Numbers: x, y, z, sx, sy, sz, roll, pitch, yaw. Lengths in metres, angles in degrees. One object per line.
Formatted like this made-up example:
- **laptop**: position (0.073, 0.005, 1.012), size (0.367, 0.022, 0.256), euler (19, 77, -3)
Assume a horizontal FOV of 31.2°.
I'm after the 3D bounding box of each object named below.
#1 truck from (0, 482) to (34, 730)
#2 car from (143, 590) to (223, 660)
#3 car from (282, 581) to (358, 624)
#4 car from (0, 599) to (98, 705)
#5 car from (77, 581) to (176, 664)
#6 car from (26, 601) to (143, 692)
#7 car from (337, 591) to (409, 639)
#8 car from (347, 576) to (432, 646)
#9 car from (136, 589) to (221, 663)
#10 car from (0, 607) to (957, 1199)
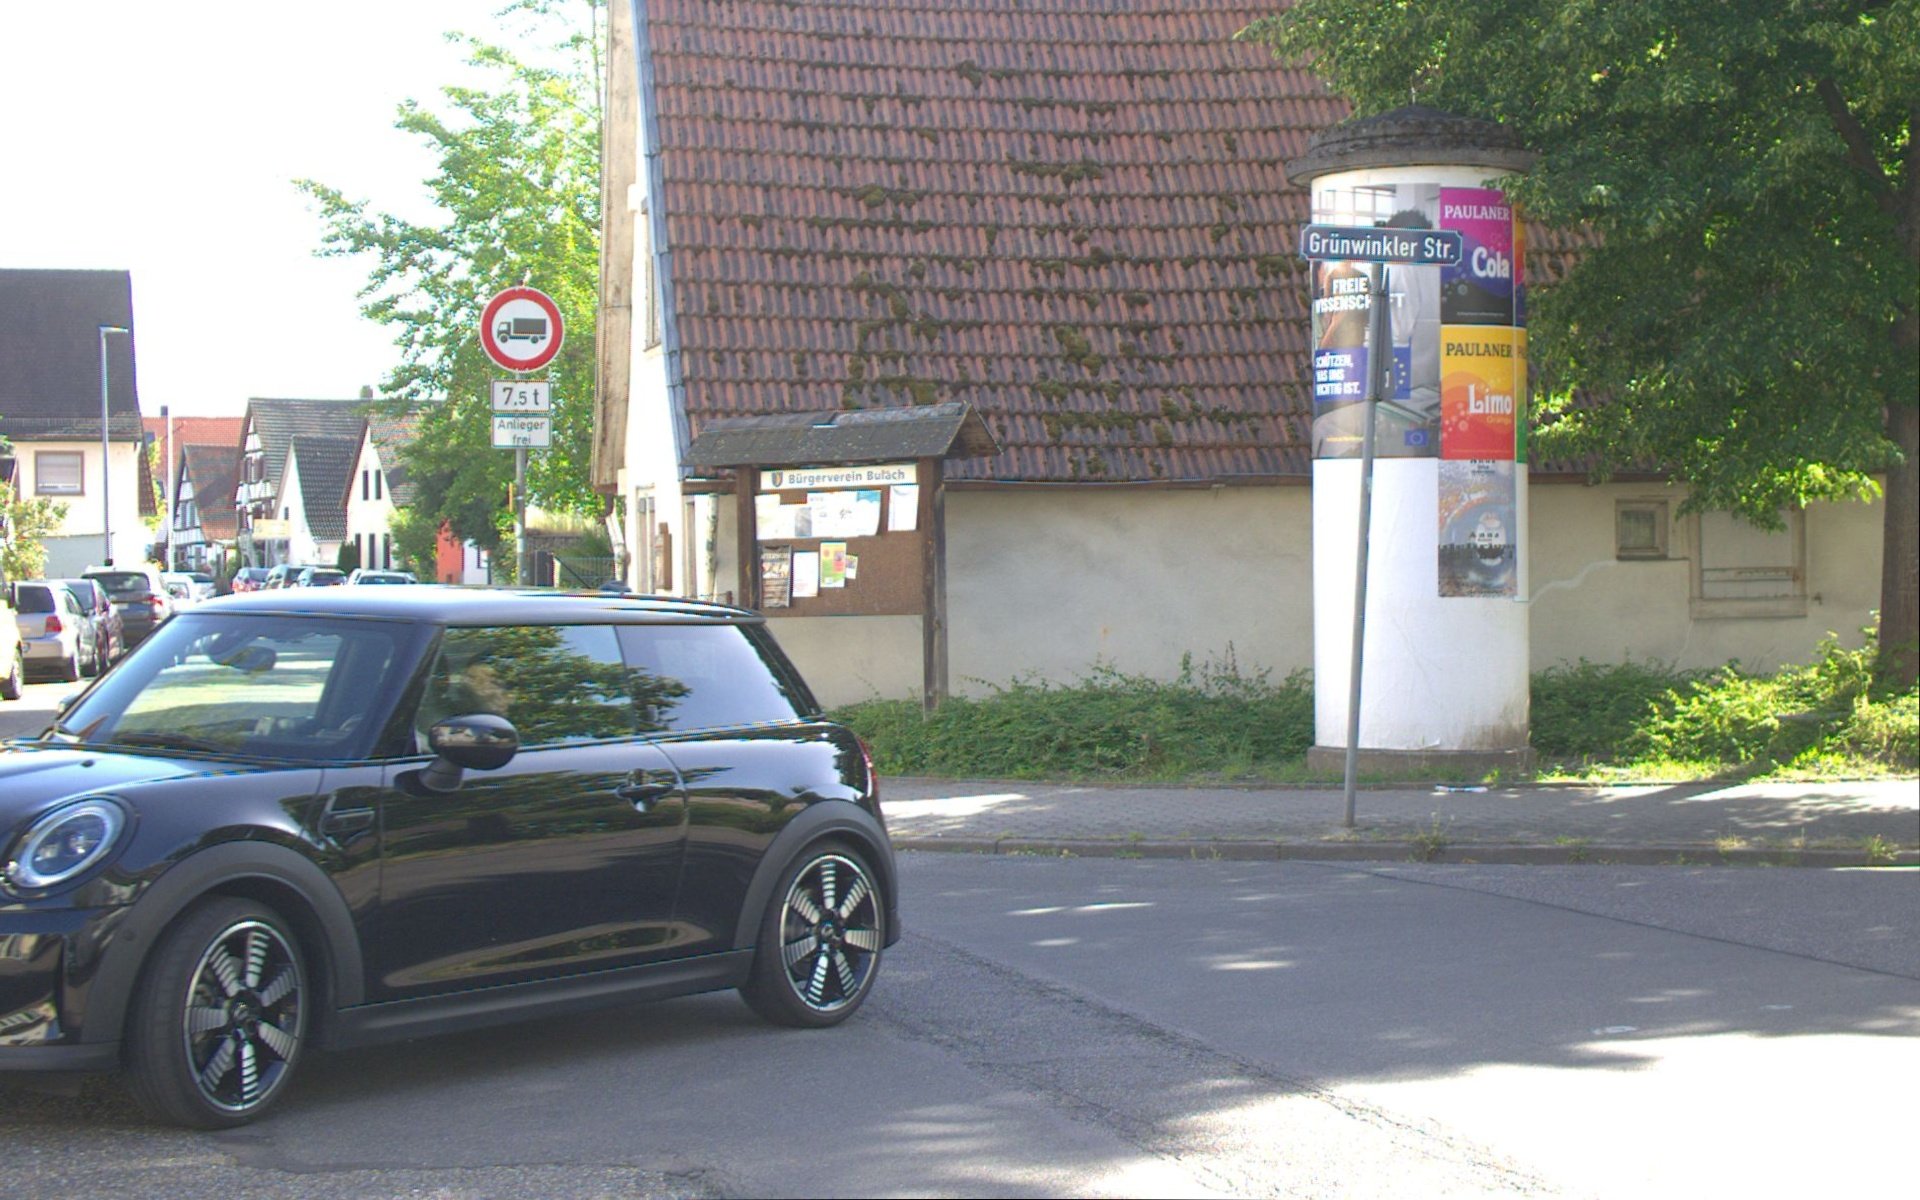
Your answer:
- **truck**: position (-12.232, 0.084, 39.759), size (2.267, 2.859, 5.784), euler (-1, 0, -9)
- **car**: position (-16.643, 0.514, 73.728), size (1.587, 1.438, 3.616), euler (-1, 0, -12)
- **car**: position (-23.929, 0.091, 128.494), size (1.973, 1.577, 3.996), euler (-1, 0, -23)
- **car**: position (-13.148, 0.713, 48.744), size (1.645, 1.428, 3.616), euler (-1, 0, -12)
- **car**: position (-14.969, 0.382, 61.854), size (1.587, 1.438, 3.616), euler (-1, 0, -12)
- **car**: position (-13.561, 0.697, 53.378), size (1.587, 1.331, 3.616), euler (-1, 0, -12)
- **car**: position (-19.912, 0.503, 116.566), size (1.972, 1.577, 3.996), euler (-1, 0, -16)
- **car**: position (-14.435, 0.257, 86.845), size (1.972, 1.708, 3.996), euler (-1, 0, -12)
- **car**: position (-15.705, 0.505, 69.171), size (1.587, 1.438, 3.616), euler (-1, 0, -12)
- **car**: position (-1.878, 0.798, 10.388), size (1.664, 1.472, 3.991), euler (1, 1, 37)
